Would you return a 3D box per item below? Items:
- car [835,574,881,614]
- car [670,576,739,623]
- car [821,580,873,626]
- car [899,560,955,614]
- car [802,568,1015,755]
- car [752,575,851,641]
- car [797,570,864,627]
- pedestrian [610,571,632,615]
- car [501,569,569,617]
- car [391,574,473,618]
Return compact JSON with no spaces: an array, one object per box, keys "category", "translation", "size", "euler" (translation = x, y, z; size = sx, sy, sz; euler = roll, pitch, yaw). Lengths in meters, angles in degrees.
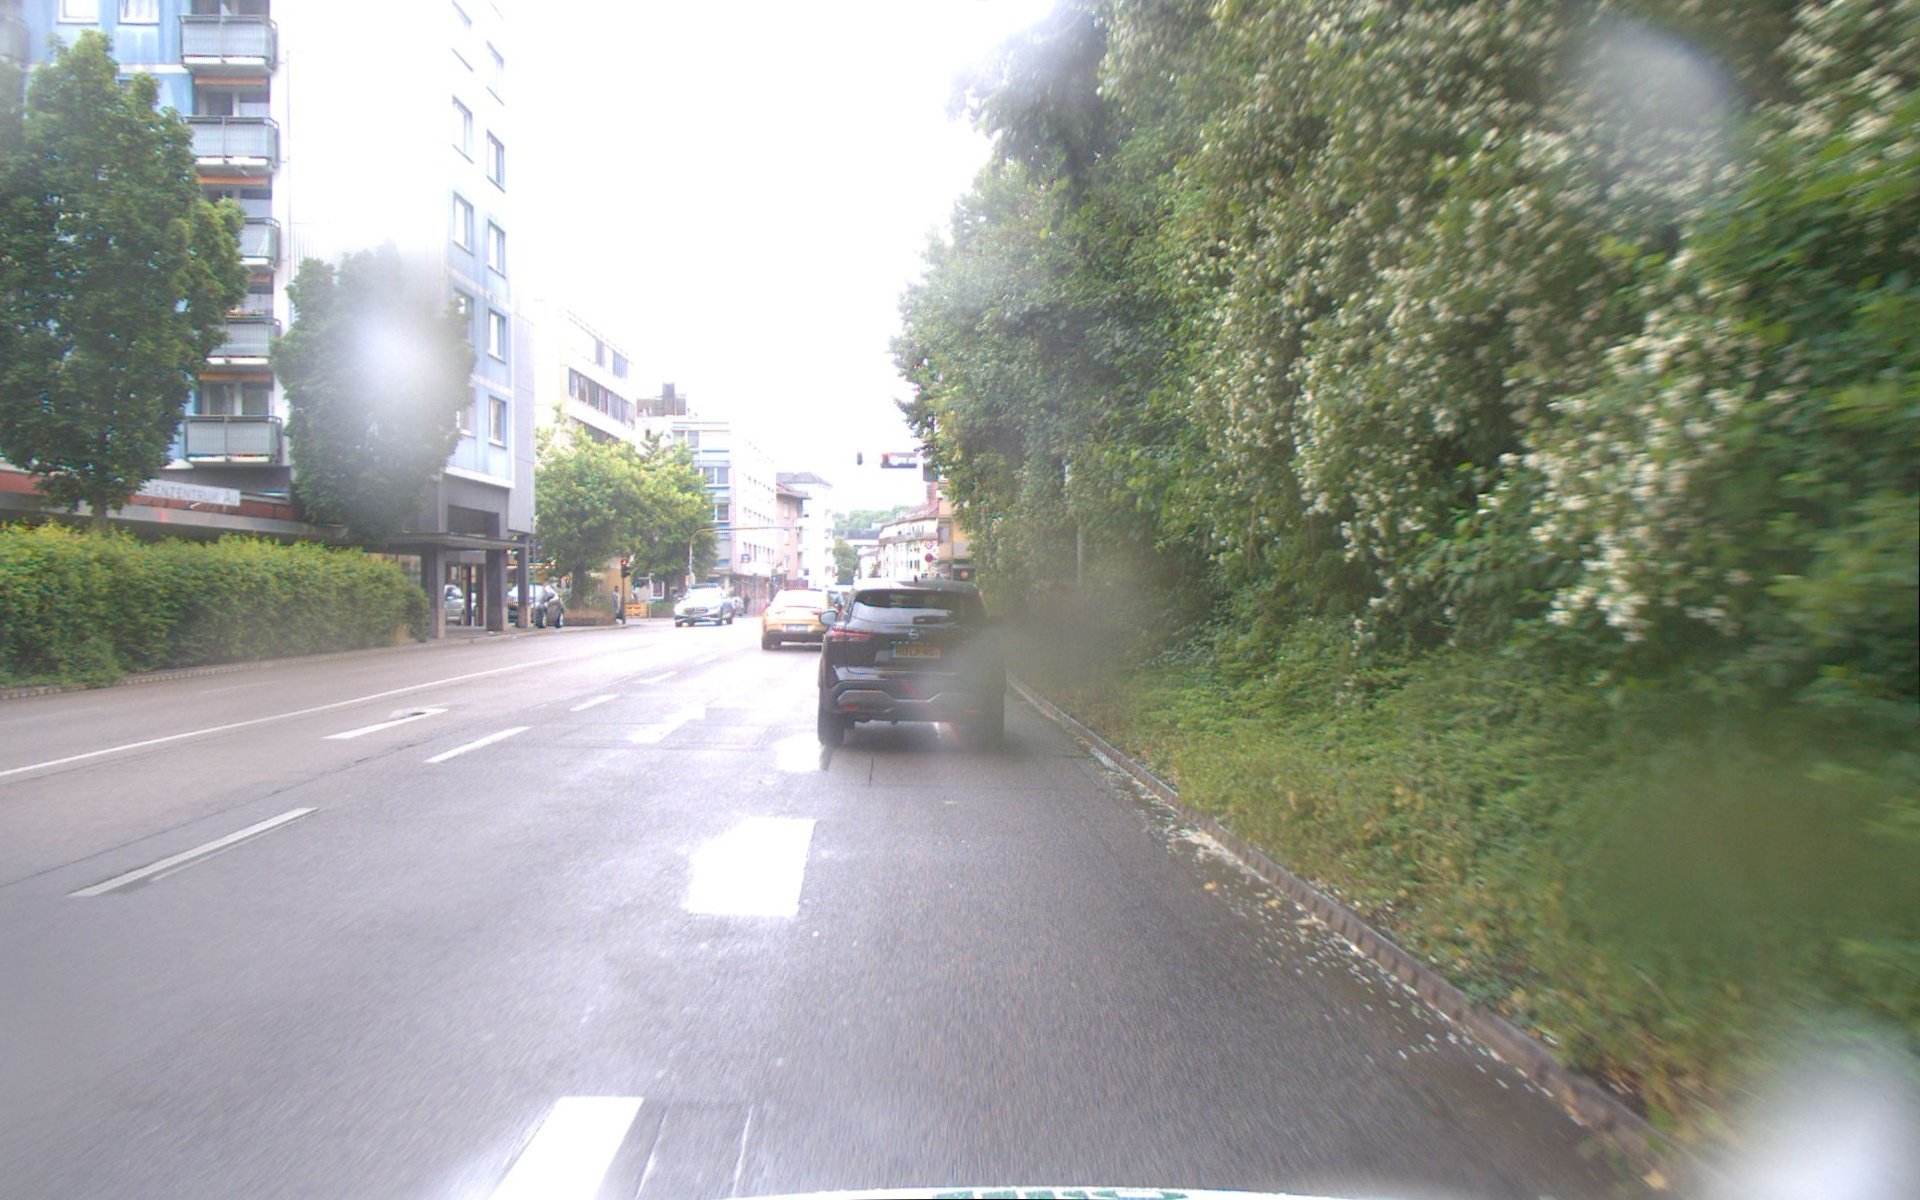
[{"category":"car","translation":[-3.955,-0.262,64.600],"size":[1.732,1.469,3.998],"euler":[0,1,-3]},{"category":"car","translation":[-10.107,-0.057,65.760],"size":[1.952,1.780,4.808],"euler":[-1,1,0]},{"category":"car","translation":[-3.676,0.070,54.383],"size":[1.580,1.445,3.965],"euler":[0,1,-2]},{"category":"car","translation":[-1.252,-0.530,64.585],"size":[1.952,2.049,4.001],"euler":[0,1,2]},{"category":"car","translation":[-0.545,0.520,16.951],"size":[1.920,1.681,3.998],"euler":[0,1,-3]},{"category":"car","translation":[-3.798,0.143,40.328],"size":[2.024,1.489,4.586],"euler":[0,1,-1]},{"category":"car","translation":[-3.664,-0.068,47.348],"size":[1.708,1.513,4.160],"euler":[-1,1,-2]},{"category":"pedestrian","translation":[-15.871,-0.332,77.473],"size":[0.923,2.049,0.884],"euler":[-2,0,-10]},{"category":"car","translation":[-15.975,-0.272,62.288],"size":[1.508,1.735,4.286],"euler":[1,1,-1]},{"category":"car","translation":[-20.832,-0.185,65.456],"size":[1.953,1.683,4.509],"euler":[0,1,-2]}]
